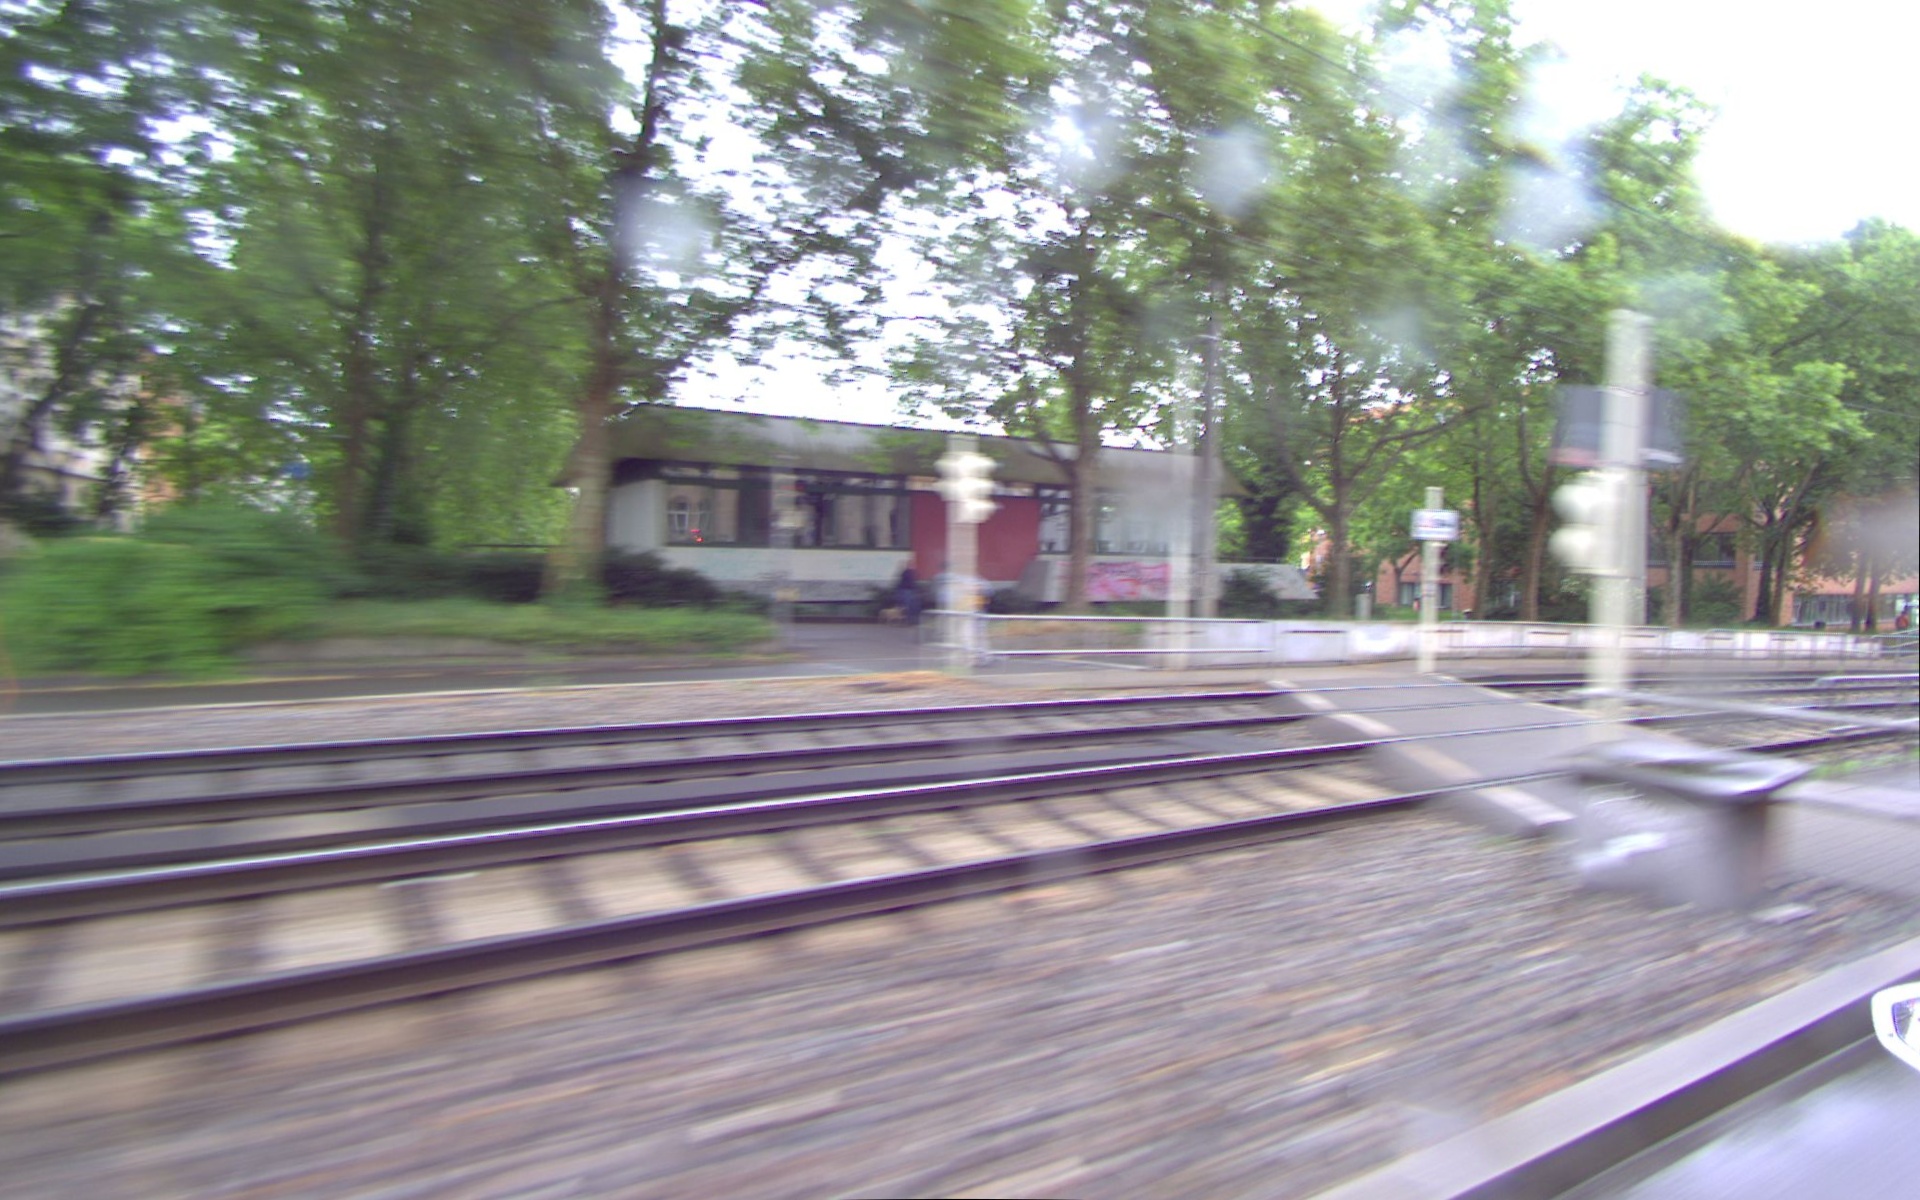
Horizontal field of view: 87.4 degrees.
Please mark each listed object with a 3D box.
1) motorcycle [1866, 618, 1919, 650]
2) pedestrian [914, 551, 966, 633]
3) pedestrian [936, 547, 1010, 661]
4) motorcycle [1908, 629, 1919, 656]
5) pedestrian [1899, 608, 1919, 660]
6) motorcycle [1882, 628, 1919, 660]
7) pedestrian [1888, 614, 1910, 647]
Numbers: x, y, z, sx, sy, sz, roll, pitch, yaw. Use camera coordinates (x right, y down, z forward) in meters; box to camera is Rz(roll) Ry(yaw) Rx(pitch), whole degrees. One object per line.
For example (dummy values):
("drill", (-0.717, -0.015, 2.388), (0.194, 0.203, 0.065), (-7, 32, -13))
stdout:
("motorcycle", (56.772, 2.056, 59.947), (0.995, 1.797, 3.843), (3, 1, -31))
("pedestrian", (-0.473, -0.180, 23.234), (0.850, 1.823, 0.866), (2, 1, -25))
("pedestrian", (0.211, 0.062, 16.724), (0.851, 1.823, 0.865), (2, 1, -27))
("motorcycle", (61.216, 2.740, 61.911), (0.995, 1.626, 3.843), (3, 1, -31))
("pedestrian", (31.682, 1.125, 33.247), (0.679, 1.686, 0.654), (-1, 3, -31))
("motorcycle", (58.209, 2.695, 60.466), (0.995, 1.840, 3.843), (2, 1, -31))
("pedestrian", (59.053, 1.931, 63.143), (0.970, 2.040, 0.728), (2, 0, -33))
